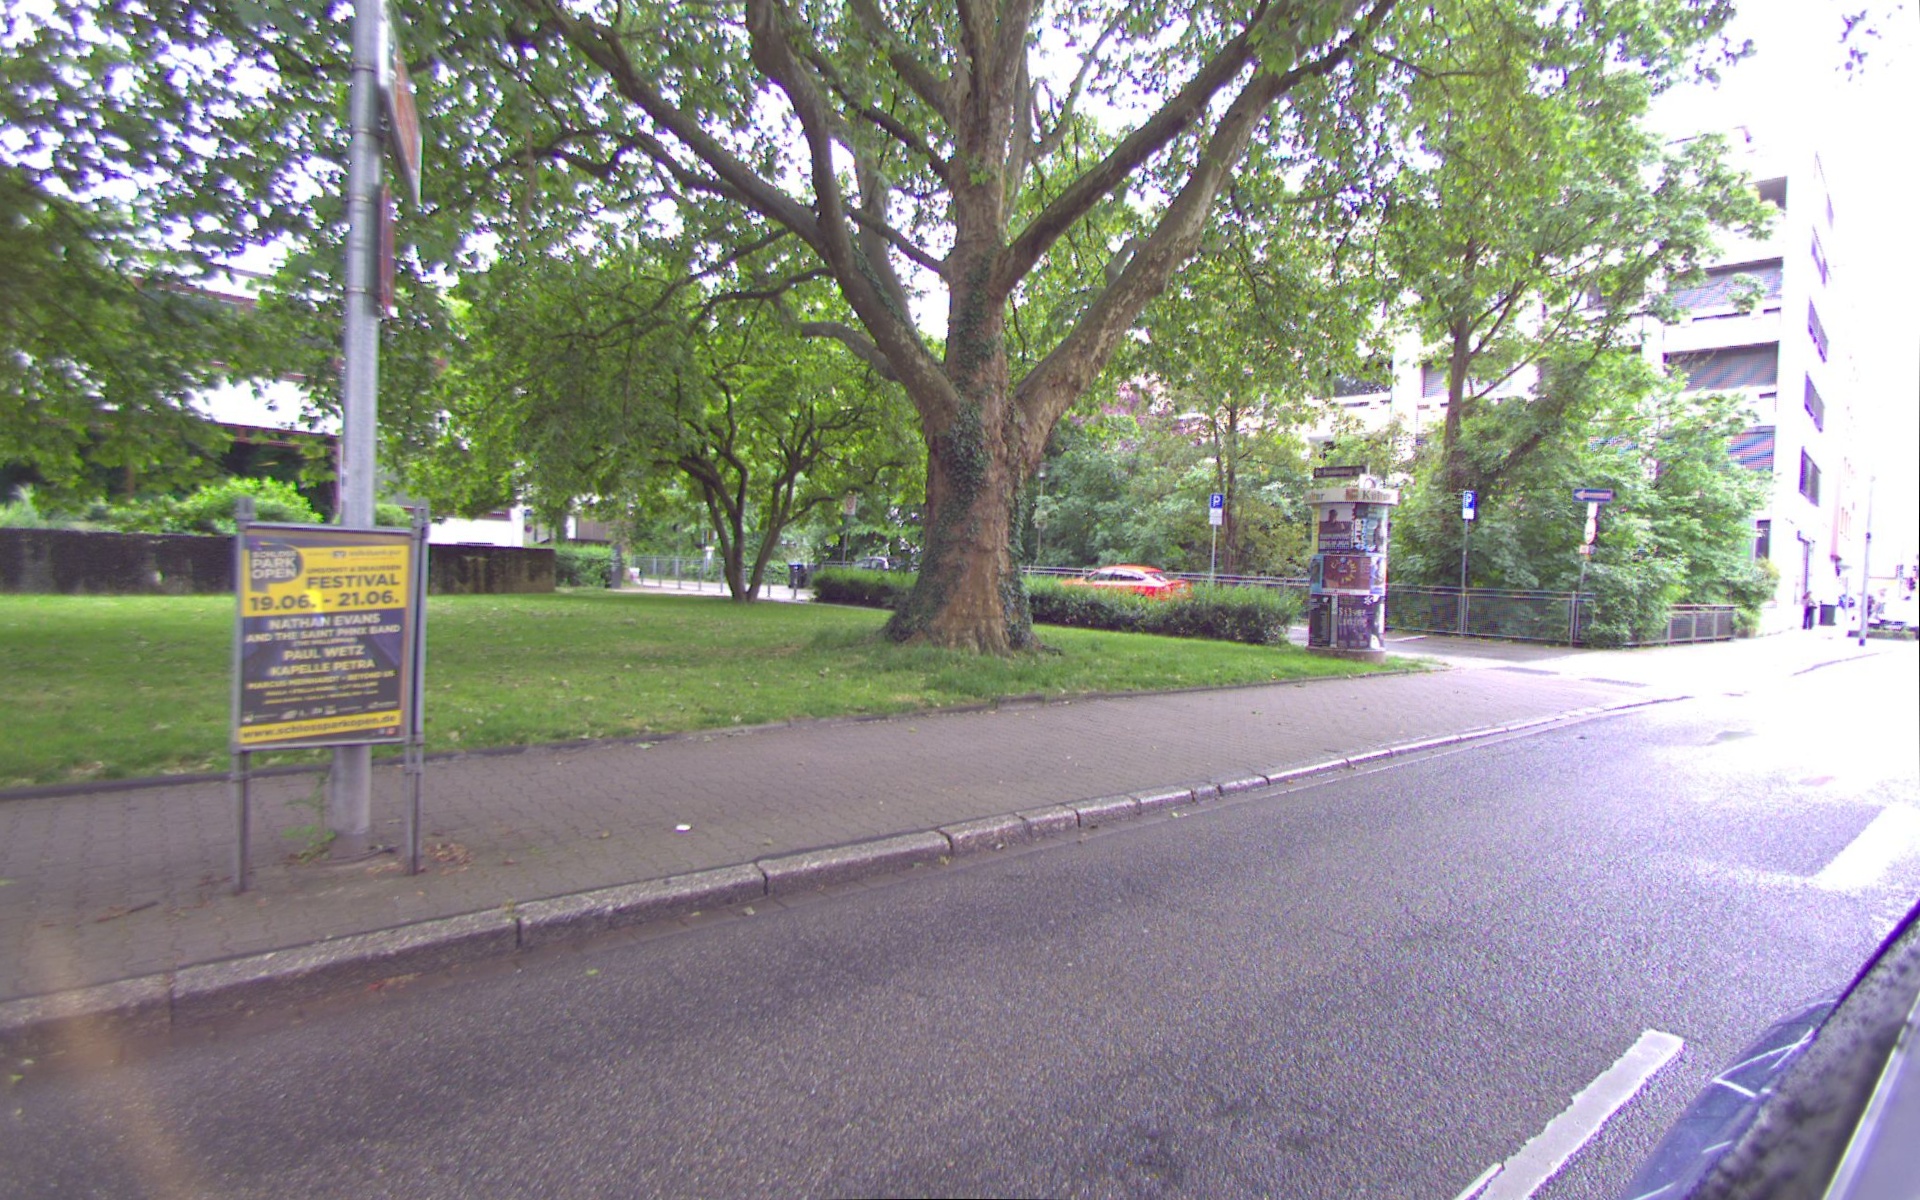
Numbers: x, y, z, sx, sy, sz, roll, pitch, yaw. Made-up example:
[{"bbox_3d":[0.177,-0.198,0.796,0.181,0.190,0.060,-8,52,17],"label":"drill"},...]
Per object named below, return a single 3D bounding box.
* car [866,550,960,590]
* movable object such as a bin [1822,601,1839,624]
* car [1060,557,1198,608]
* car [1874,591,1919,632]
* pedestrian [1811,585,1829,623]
[{"bbox_3d":[-1.740,-1.103,36.651,3.460,1.294,1.426,5,4,45],"label":"car"},{"bbox_3d":[41.914,0.613,48.714,0.287,1.054,0.556,0,3,-41],"label":"movable object such as a bin"},{"bbox_3d":[4.867,-0.544,29.520,1.551,1.294,3.784,-1,4,-44],"label":"car"},{"bbox_3d":[37.408,0.449,39.740,3.617,1.449,1.681,0,6,-41],"label":"car"},{"bbox_3d":[35.050,0.155,41.239,0.473,1.549,0.480,0,0,-41],"label":"pedestrian"}]
